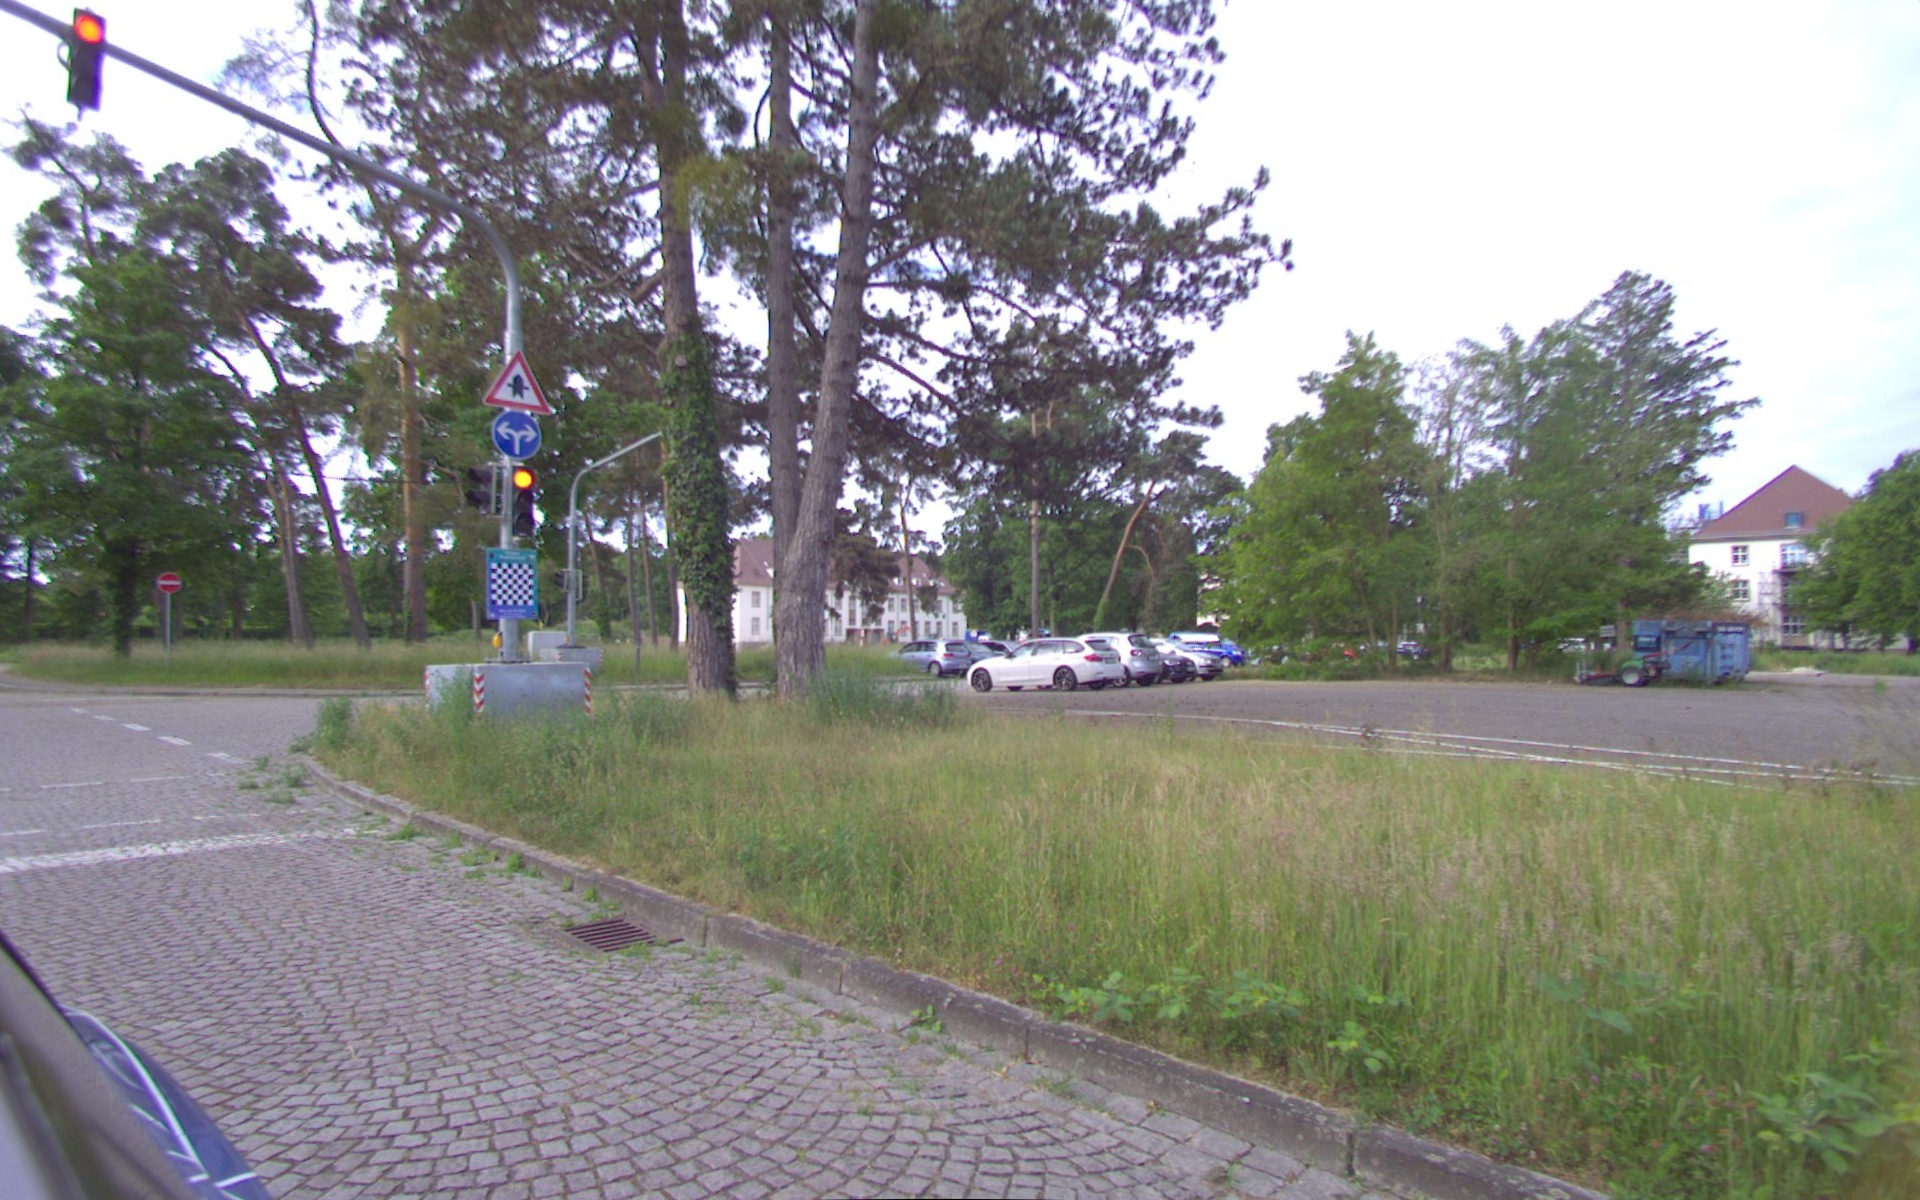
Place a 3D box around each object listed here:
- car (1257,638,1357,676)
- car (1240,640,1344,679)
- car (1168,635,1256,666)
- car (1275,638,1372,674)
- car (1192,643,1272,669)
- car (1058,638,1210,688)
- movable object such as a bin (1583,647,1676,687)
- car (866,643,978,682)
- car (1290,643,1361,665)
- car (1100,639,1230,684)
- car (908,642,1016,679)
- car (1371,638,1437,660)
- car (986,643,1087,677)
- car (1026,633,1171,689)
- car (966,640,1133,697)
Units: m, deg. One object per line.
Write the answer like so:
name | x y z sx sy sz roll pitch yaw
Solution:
car | 14.370 2.331 41.995 3.589 1.486 1.658 -2 -3 39
car | 13.203 2.346 40.347 3.589 1.486 1.658 -2 -3 39
car | 14.337 2.860 57.797 4.580 1.736 1.805 -2 -3 42
car | 15.593 2.384 43.455 3.589 1.486 1.658 -2 -3 39
car | 15.989 3.281 59.680 4.188 1.486 1.805 -2 -3 42
car | 5.414 1.938 31.829 4.398 1.486 1.806 -2 -3 39
movable object such as a bin | 17.416 1.731 26.371 1.953 0.976 1.431 -2 -3 35
car | -1.560 2.465 40.621 4.398 1.486 1.806 -2 -3 39
car | 26.217 3.846 72.690 4.401 1.486 1.805 -2 -3 42
car | 6.874 2.044 34.222 4.033 1.410 1.616 -2 -3 39
car | 0.062 2.498 42.373 4.398 1.486 1.806 -2 -3 39
car | 36.518 4.040 83.327 1.801 1.736 4.589 2 -3 -40
car | 3.486 2.714 46.352 4.398 1.486 1.806 -2 -3 39
car | 3.995 1.808 29.591 3.895 1.532 1.653 -4 -4 39
car | 2.399 1.813 27.697 4.316 1.436 1.806 -2 -3 39
